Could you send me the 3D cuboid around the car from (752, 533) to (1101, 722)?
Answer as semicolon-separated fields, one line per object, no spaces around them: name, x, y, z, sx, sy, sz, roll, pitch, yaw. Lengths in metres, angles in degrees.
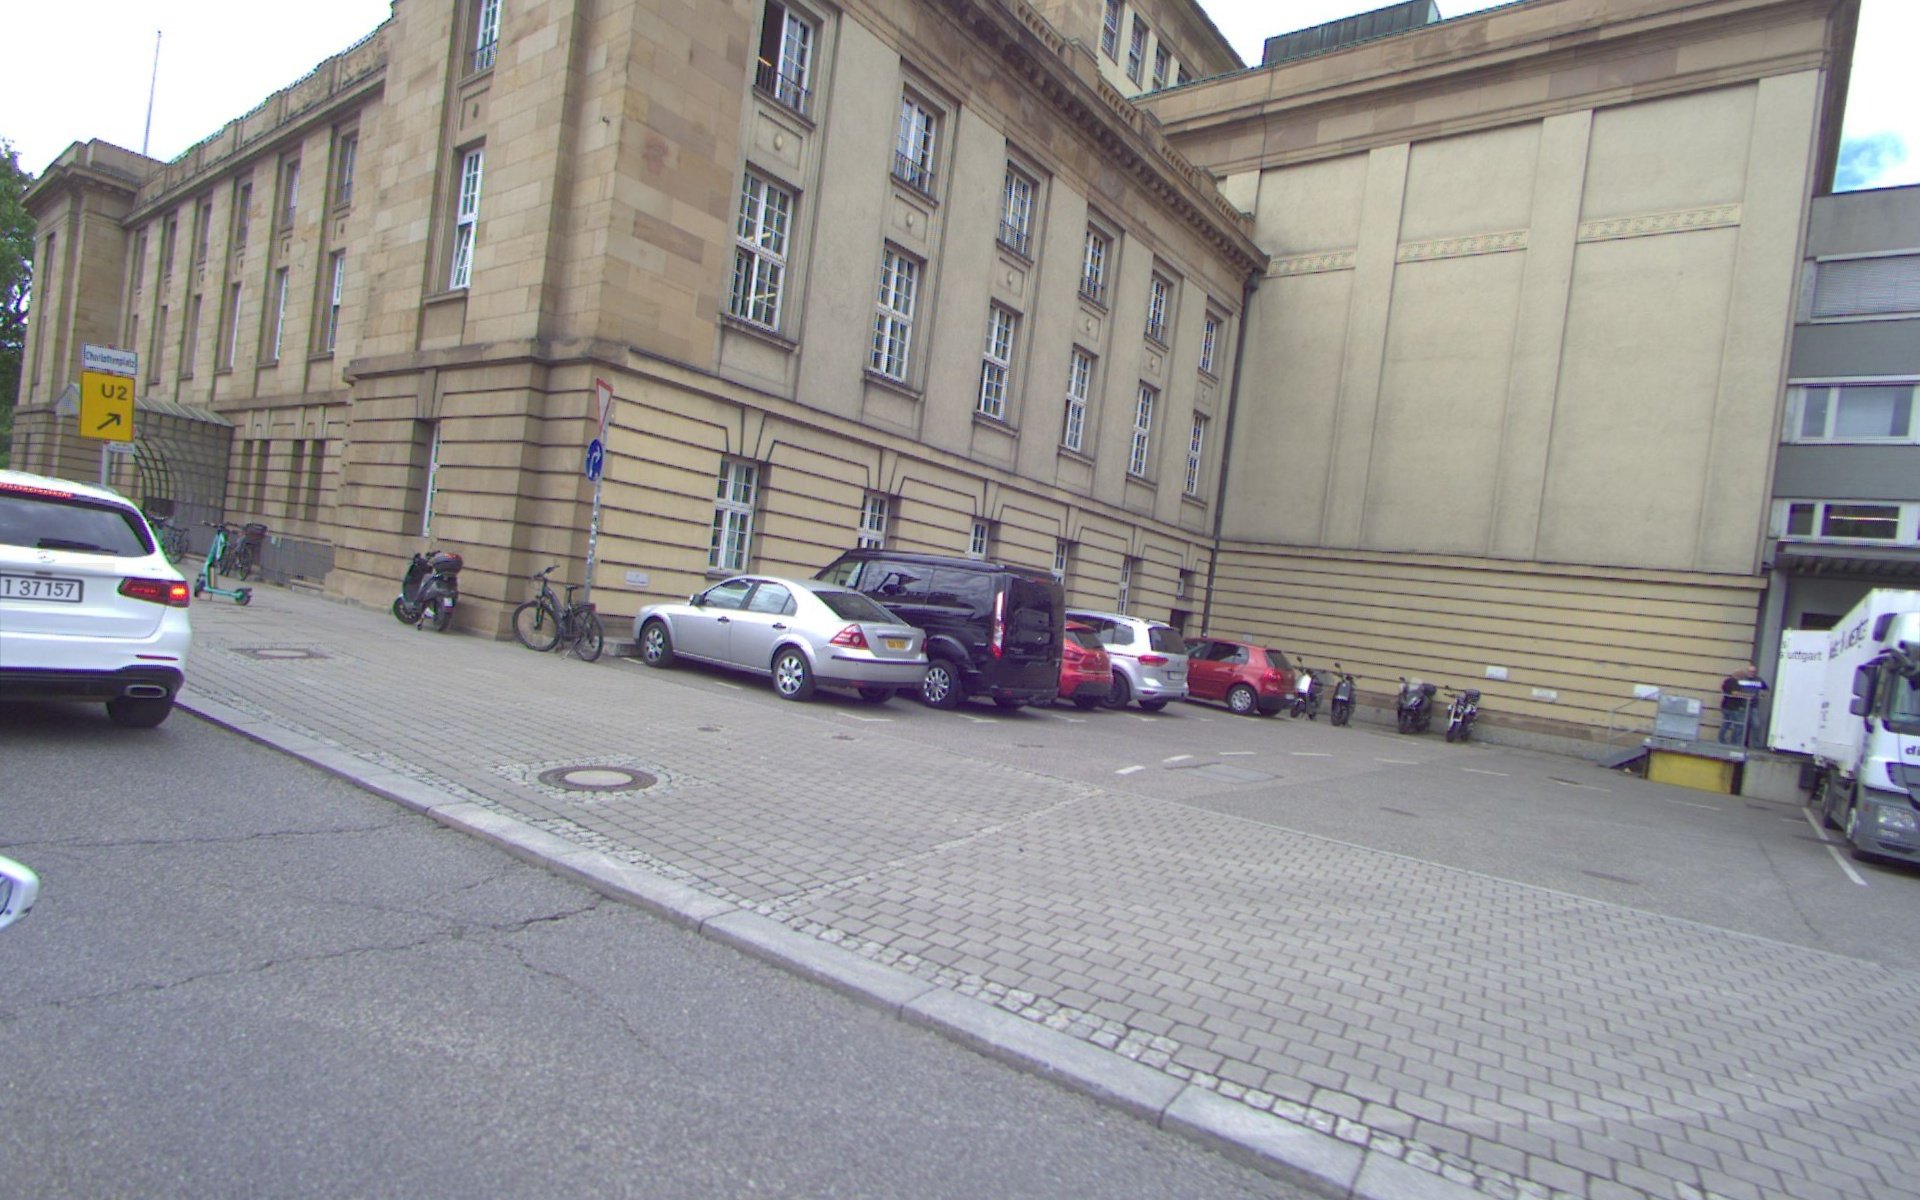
car;-0.618;0.343;15.010;4.841;2.093;1.949;8;-1;37

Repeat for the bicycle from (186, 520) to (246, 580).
bicycle;-17.469;-1.186;23.608;1.887;1.231;0.555;7;0;38

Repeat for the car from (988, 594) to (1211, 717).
car;2.526;0.997;18.590;3.561;1.689;1.644;8;-1;37

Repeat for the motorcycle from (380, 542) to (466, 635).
motorcycle;-8.325;-0.195;15.552;1.896;1.258;0.454;7;1;42

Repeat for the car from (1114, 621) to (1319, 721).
car;5.562;1.525;22.002;3.859;1.552;1.644;8;-1;37

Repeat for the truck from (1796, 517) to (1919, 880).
truck;15.293;1.671;15.405;2.954;4.257;10.349;7;0;37

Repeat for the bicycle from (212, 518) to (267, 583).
bicycle;-16.080;-1.119;22.427;1.764;1.304;0.412;7;0;38

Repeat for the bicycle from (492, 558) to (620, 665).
bicycle;-5.552;0.137;13.771;1.932;1.241;0.608;7;3;35

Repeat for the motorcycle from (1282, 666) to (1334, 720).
motorcycle;8.248;2.228;23.834;0.462;1.104;1.789;7;-3;39

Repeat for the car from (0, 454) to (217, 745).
car;-7.143;-0.190;7.054;4.369;1.644;1.788;7;-1;36

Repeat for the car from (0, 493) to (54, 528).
car;-53.889;-5.203;56.724;1.654;1.587;3.835;7;-1;39

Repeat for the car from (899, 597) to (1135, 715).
car;0.927;0.927;17.110;3.561;1.429;1.644;8;-1;37

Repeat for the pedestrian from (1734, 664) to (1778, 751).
pedestrian;17.845;2.405;22.557;0.759;1.842;0.522;10;-2;-43

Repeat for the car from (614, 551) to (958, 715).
car;-2.427;0.387;13.390;4.505;1.486;1.779;8;-1;37

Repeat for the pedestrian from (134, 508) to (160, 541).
pedestrian;-24.292;-2.258;30.051;0.367;0.883;0.429;6;-2;39

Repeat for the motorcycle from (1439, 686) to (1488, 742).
motorcycle;12.813;2.904;25.582;0.551;1.304;2.082;7;0;39

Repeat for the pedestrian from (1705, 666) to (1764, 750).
pedestrian;17.123;2.384;22.247;0.620;1.713;0.689;9;-2;-25

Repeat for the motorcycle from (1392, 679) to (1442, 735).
motorcycle;11.951;2.795;26.291;0.551;1.337;2.082;7;0;39

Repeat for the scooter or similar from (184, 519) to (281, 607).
scooter or similar;-11.589;-0.589;16.029;1.343;1.268;0.452;6;0;18

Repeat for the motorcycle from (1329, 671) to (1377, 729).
motorcycle;8.998;2.295;22.994;0.418;1.187;1.604;7;-3;39

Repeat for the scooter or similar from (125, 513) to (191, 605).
scooter or similar;-12.256;-0.638;15.363;1.382;1.277;0.379;7;0;38

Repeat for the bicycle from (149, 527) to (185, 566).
bicycle;-20.620;-1.402;26.155;1.851;0.854;0.306;7;0;40

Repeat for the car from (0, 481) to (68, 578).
car;-17.566;-1.367;18.082;3.651;1.572;1.544;7;2;37
